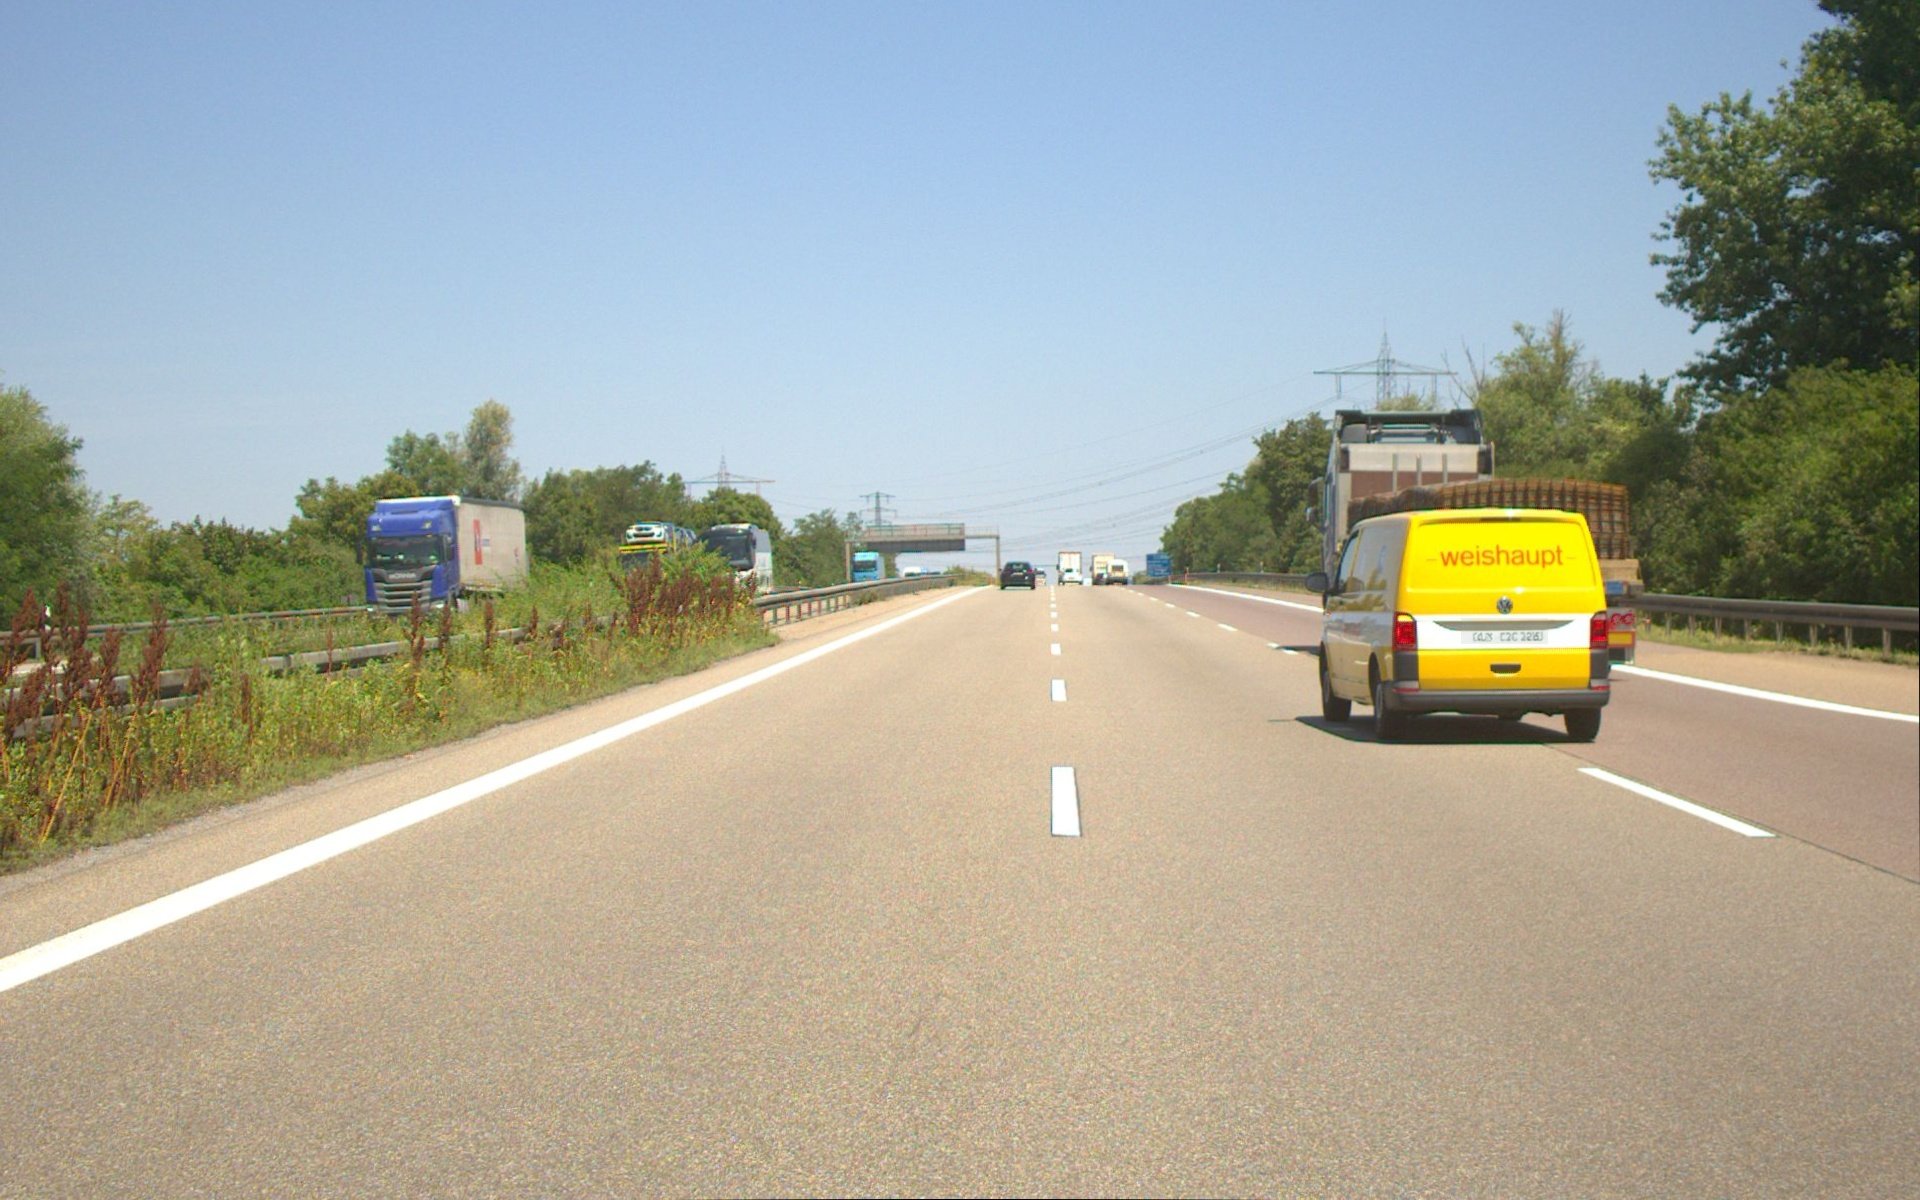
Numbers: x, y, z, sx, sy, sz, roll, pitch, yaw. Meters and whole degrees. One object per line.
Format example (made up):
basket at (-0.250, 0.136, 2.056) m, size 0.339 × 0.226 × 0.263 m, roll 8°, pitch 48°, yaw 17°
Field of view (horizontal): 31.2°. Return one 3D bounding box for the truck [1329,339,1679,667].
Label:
truck at (7.447, -1.196, 49.721) m, size 2.969 × 3.944 × 16.612 m, roll 0°, pitch 0°, yaw 2°

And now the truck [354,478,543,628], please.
truck at (-16.373, -1.496, 111.596) m, size 2.955 × 4.327 × 17.470 m, roll -3°, pitch 1°, yaw 1°

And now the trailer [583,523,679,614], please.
trailer at (-15.299, -1.516, 160.641) m, size 2.921 × 3.954 × 11.651 m, roll -3°, pitch 1°, yaw 1°

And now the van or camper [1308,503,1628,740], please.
van or camper at (4.344, 0.141, 30.174) m, size 1.993 × 1.903 × 4.971 m, roll 0°, pitch 1°, yaw -1°

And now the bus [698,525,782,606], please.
bus at (-10.518, -1.689, 165.544) m, size 2.694 × 3.571 × 12.793 m, roll -3°, pitch 1°, yaw 1°

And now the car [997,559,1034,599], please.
car at (2.827, -1.067, 175.227) m, size 1.791 × 2.007 × 3.887 m, roll 0°, pitch 0°, yaw 2°
